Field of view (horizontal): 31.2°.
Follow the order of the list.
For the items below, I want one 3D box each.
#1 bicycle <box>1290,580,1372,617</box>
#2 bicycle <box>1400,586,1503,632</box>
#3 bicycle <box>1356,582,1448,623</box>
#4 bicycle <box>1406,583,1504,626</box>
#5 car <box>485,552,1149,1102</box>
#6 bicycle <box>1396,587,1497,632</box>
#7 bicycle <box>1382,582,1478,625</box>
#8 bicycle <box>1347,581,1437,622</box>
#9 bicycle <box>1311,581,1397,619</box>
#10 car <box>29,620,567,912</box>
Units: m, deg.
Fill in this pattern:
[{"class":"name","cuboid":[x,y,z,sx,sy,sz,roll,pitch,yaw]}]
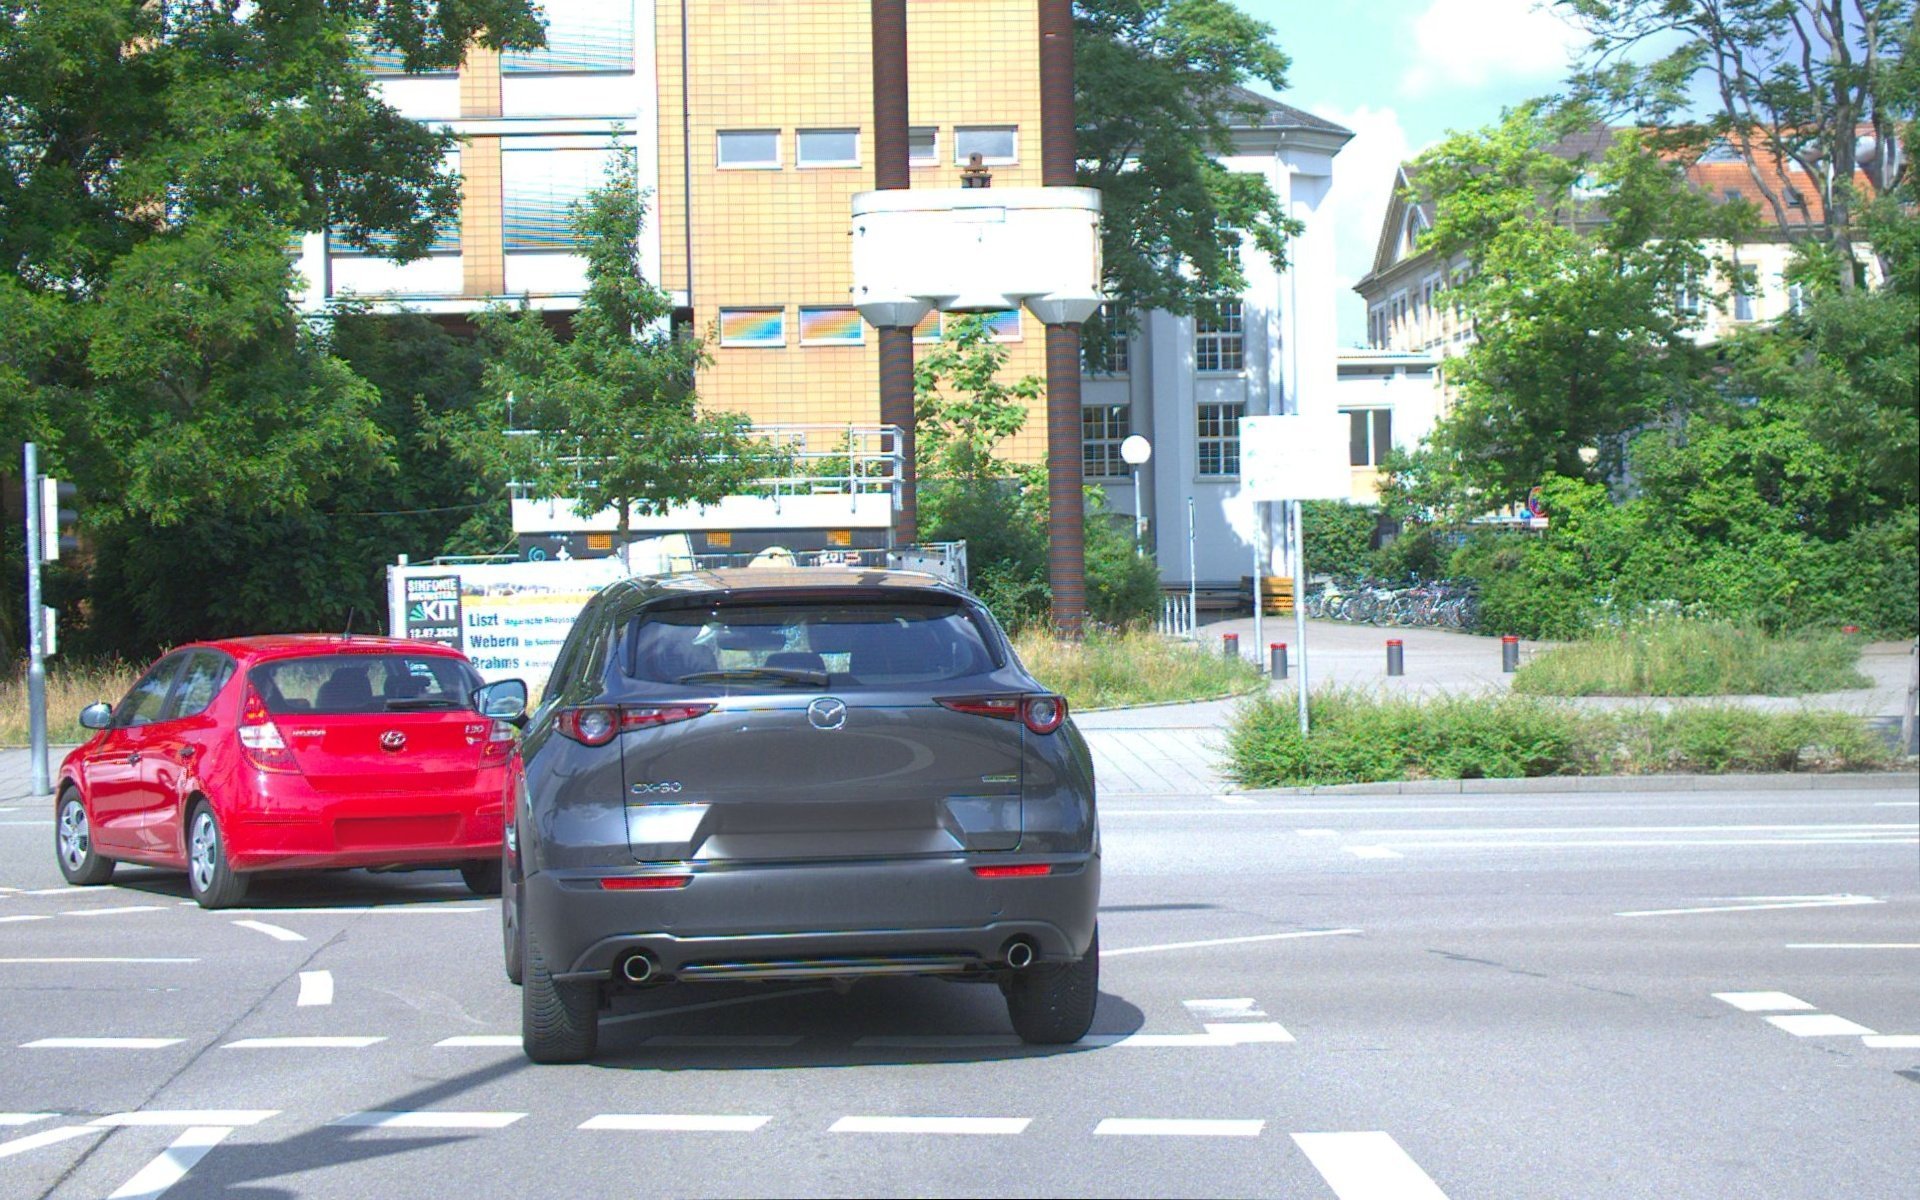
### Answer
[{"class":"bicycle","cuboid":[9.952,-0.046,92.232,2.055,0.933,0.804,-1,0,-2]},{"class":"bicycle","cuboid":[10.526,0.194,73.612,2.055,0.933,0.804,-1,0,-2]},{"class":"bicycle","cuboid":[10.618,0.052,82.649,2.055,0.933,0.804,-1,0,-2]},{"class":"bicycle","cuboid":[11.202,0.102,77.841,2.055,0.933,0.804,-1,0,-2]},{"class":"car","cuboid":[-0.681,0.659,11.884,1.805,1.503,4.205,-2,0,-9]},{"class":"bicycle","cuboid":[10.636,0.213,75.190,2.055,0.933,0.804,-1,0,-2]},{"class":"bicycle","cuboid":[10.823,0.085,79.171,2.055,0.933,0.804,-1,0,-2]},{"class":"bicycle","cuboid":[10.513,0.039,83.643,2.055,0.933,0.804,-1,0,-2]},{"class":"bicycle","cuboid":[9.999,-0.001,87.372,2.055,0.933,0.804,-1,0,-2]},{"class":"car","cuboid":[-3.912,0.876,19.777,1.816,1.434,4.067,-2,0,-29]}]
